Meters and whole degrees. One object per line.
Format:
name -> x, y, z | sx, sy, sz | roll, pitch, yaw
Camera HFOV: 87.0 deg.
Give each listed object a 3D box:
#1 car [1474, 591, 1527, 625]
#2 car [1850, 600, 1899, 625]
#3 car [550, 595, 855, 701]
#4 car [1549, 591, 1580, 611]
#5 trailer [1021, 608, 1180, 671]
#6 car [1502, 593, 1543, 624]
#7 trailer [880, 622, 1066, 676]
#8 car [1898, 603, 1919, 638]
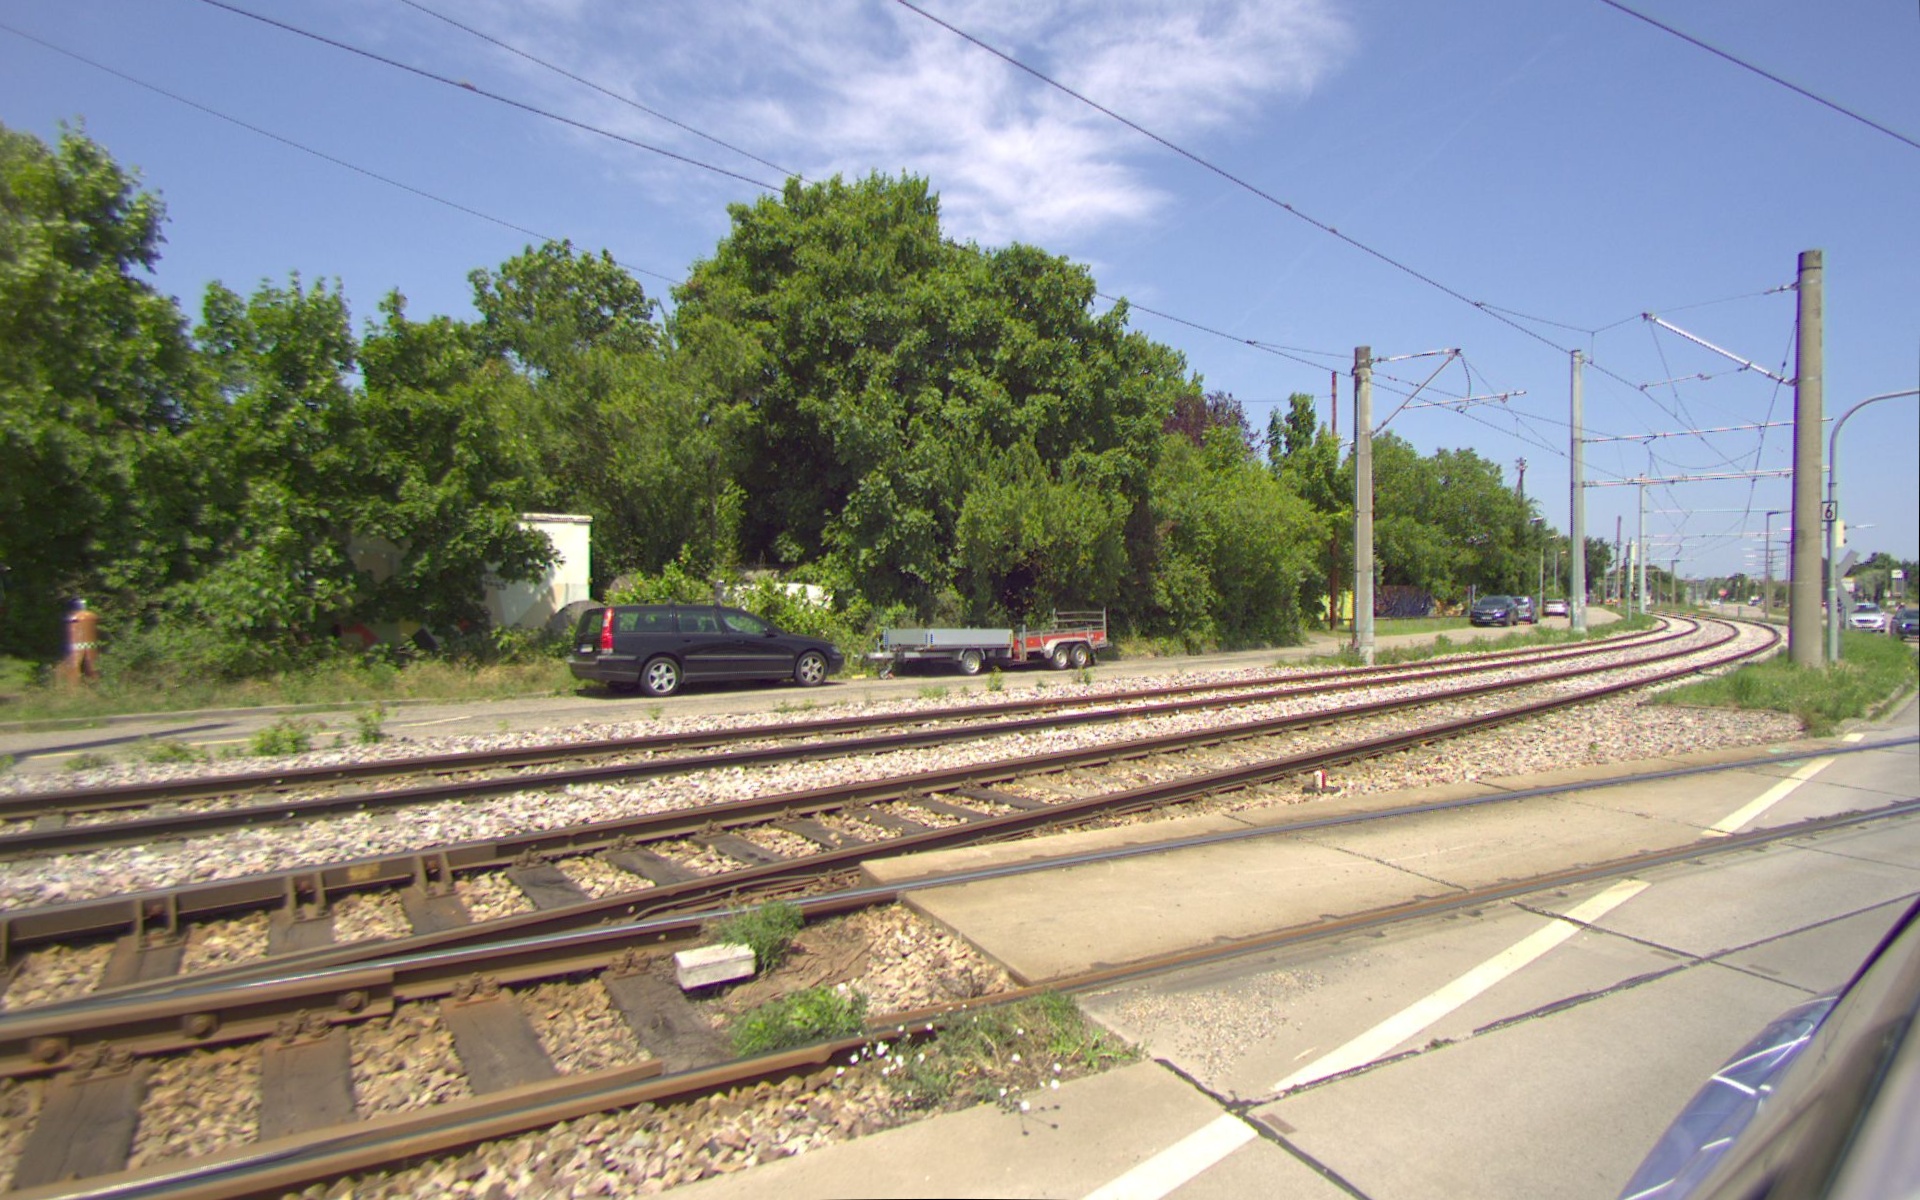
car -> 29.578, 0.369, 55.271 | 1.824, 1.677, 4.751 | 1, 2, 37
car -> 58.562, 0.783, 64.872 | 1.798, 1.492, 3.470 | 1, 2, 34
car -> -4.189, 0.687, 16.972 | 4.657, 1.444, 1.800 | -1, 2, -40
car -> 47.116, 0.031, 78.856 | 1.675, 1.432, 4.492 | 1, 2, 36
trailer -> 3.340, 0.866, 23.648 | 3.930, 1.237, 1.465 | -1, 2, -40
car -> 33.375, 0.488, 59.974 | 1.671, 1.644, 4.654 | 1, 2, 34
trailer -> 0.334, 0.970, 21.084 | 3.929, 1.007, 1.421 | 1, -2, -41
car -> 44.408, 0.931, 46.435 | 1.501, 1.449, 3.317 | 1, 2, 35
